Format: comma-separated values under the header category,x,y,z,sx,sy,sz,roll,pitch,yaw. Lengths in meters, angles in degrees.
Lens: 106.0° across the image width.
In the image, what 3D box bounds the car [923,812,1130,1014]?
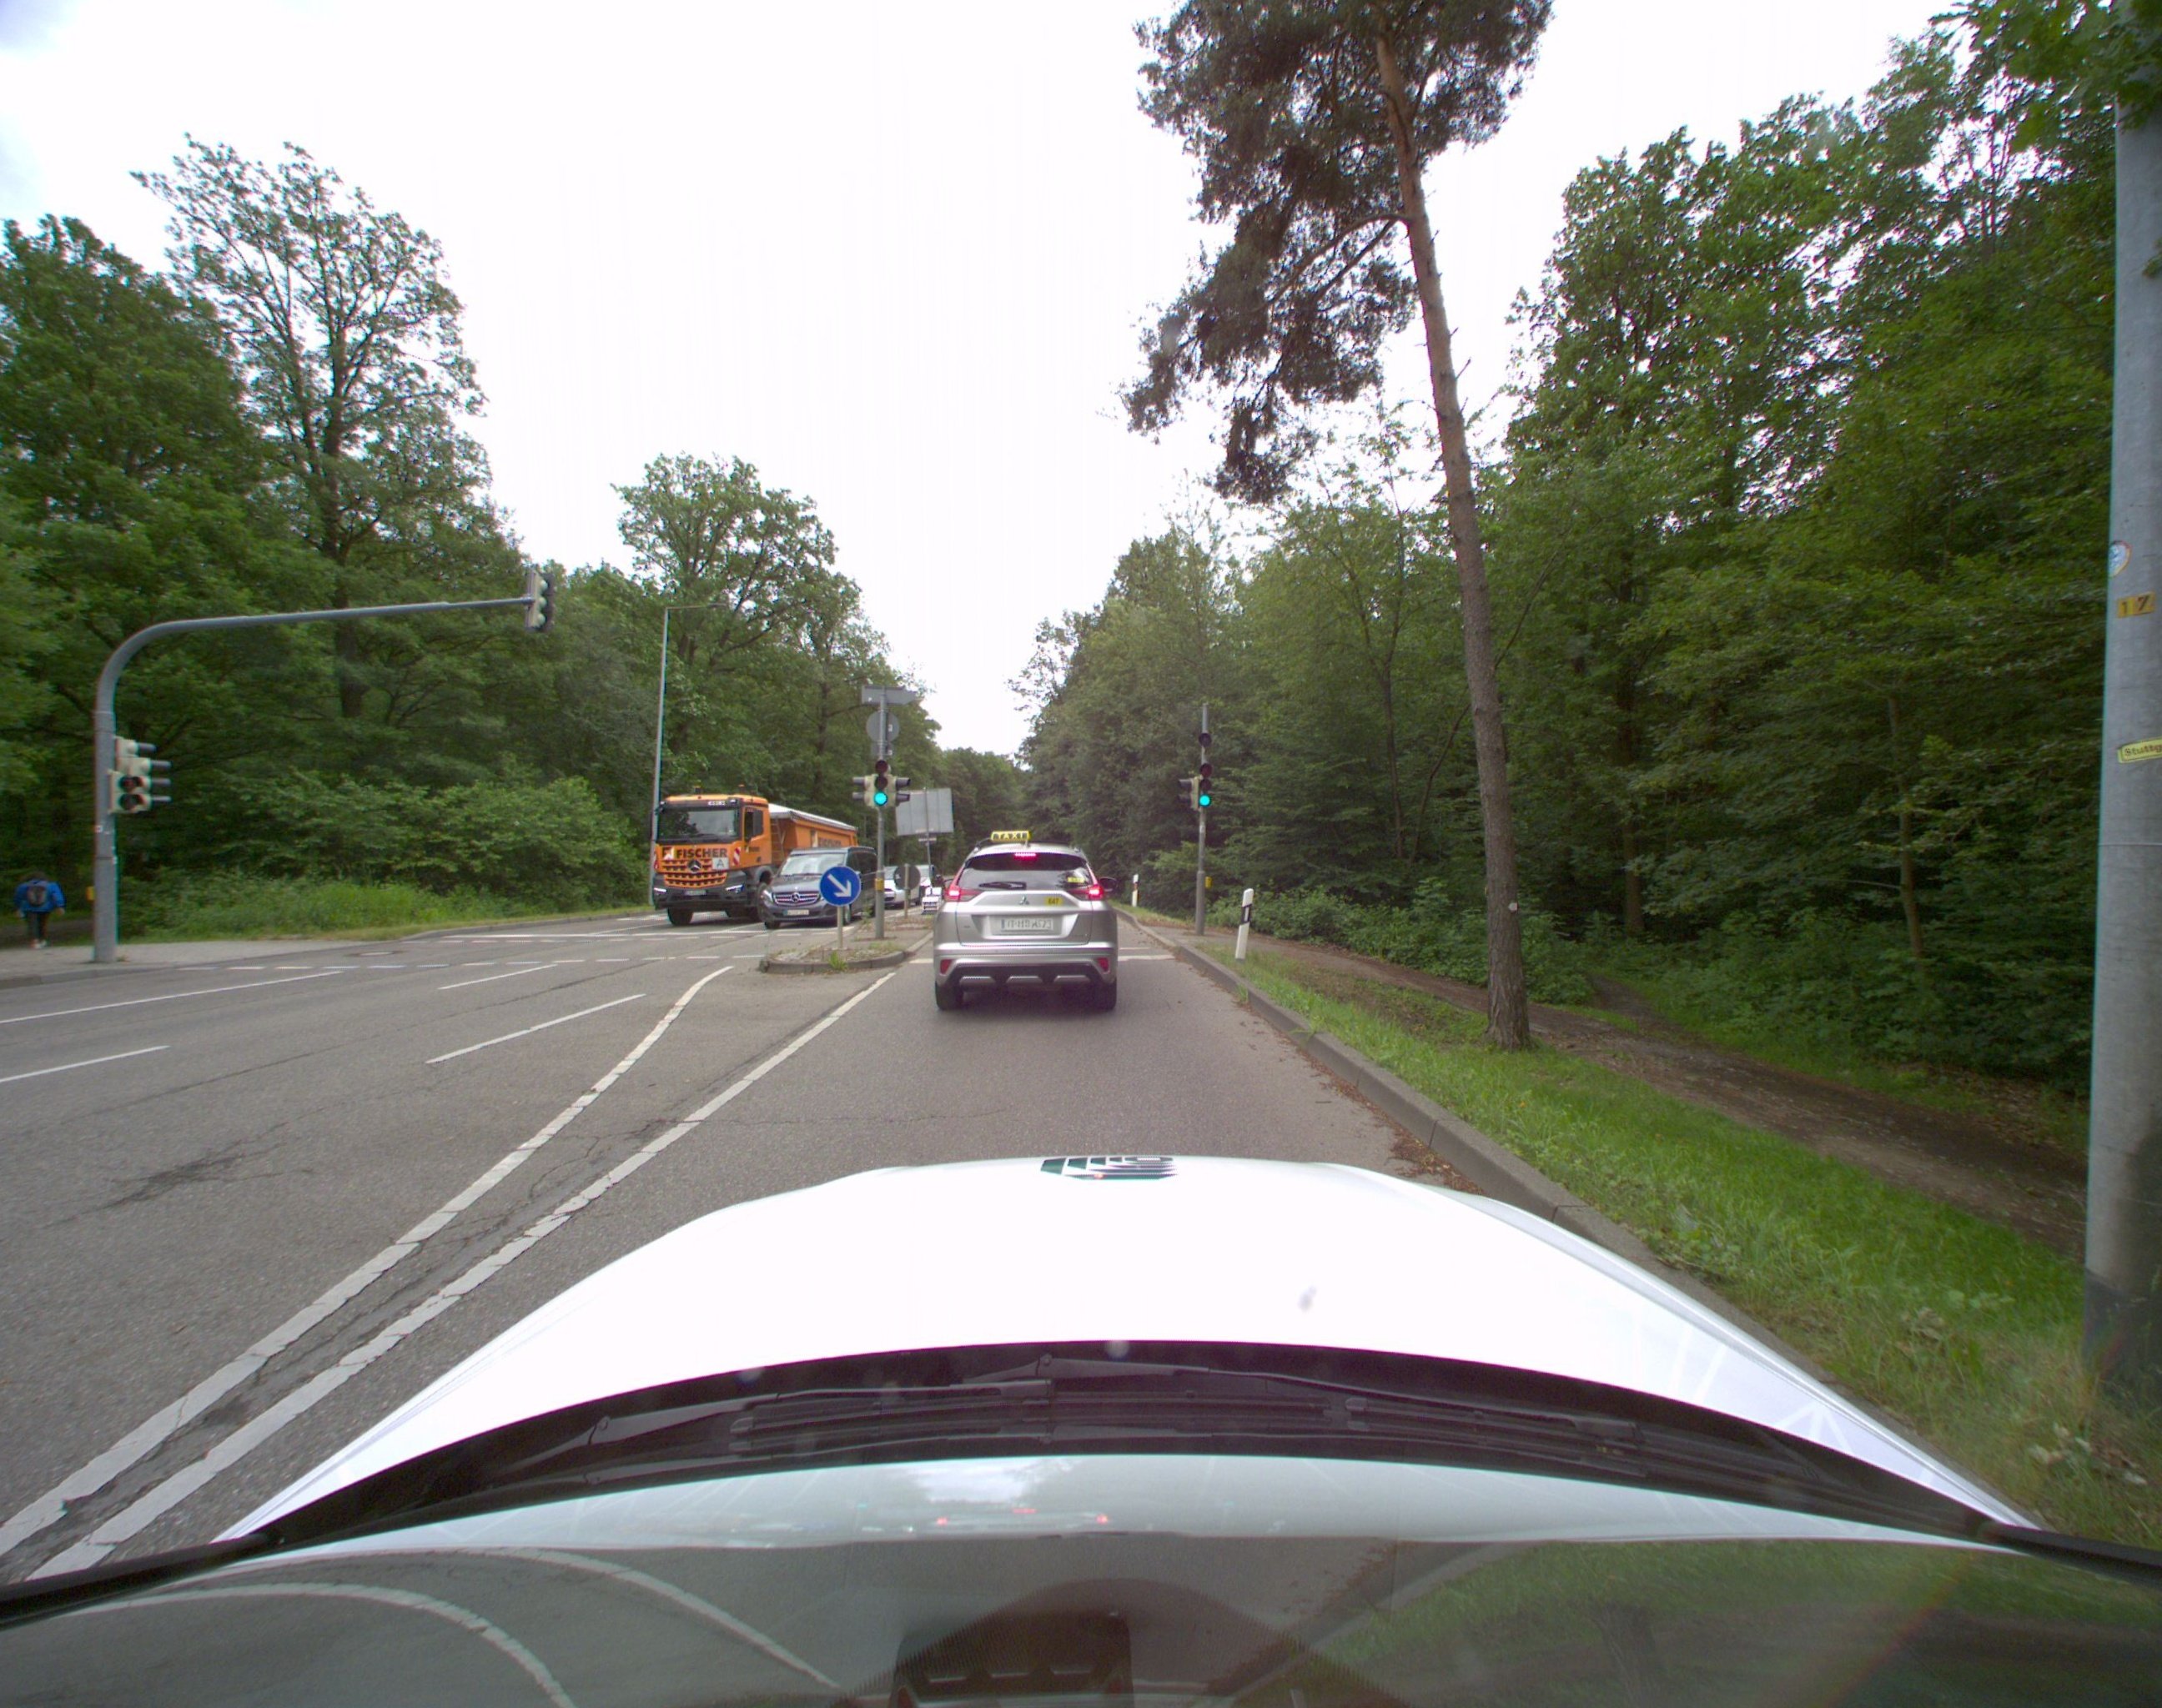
category,x,y,z,sx,sy,sz,roll,pitch,yaw
car,-0.618,0.532,9.284,1.843,1.780,3.994,0,0,-4

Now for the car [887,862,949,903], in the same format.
category,x,y,z,sx,sy,sz,roll,pitch,yaw
car,-6.688,1.140,33.801,1.806,1.508,3.720,-3,-1,-1

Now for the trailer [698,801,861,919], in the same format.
category,x,y,z,sx,sy,sz,roll,pitch,yaw
trailer,-9.810,0.263,27.706,2.733,3.318,8.558,-2,-1,-3

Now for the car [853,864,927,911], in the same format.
category,x,y,z,sx,sy,sz,roll,pitch,yaw
car,-6.394,1.077,27.626,1.607,1.321,3.720,-3,0,-1

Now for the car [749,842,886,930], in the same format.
category,x,y,z,sx,sy,sz,roll,pitch,yaw
car,-6.460,0.739,20.616,1.988,1.894,4.835,-2,-1,-2

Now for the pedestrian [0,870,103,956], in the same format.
category,x,y,z,sx,sy,sz,roll,pitch,yaw
pedestrian,-21.547,1.193,16.950,1.043,1.649,1.070,3,1,3

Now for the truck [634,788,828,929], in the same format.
category,x,y,z,sx,sy,sz,roll,pitch,yaw
truck,-9.567,0.170,23.289,2.733,3.318,7.150,-2,-1,-3
